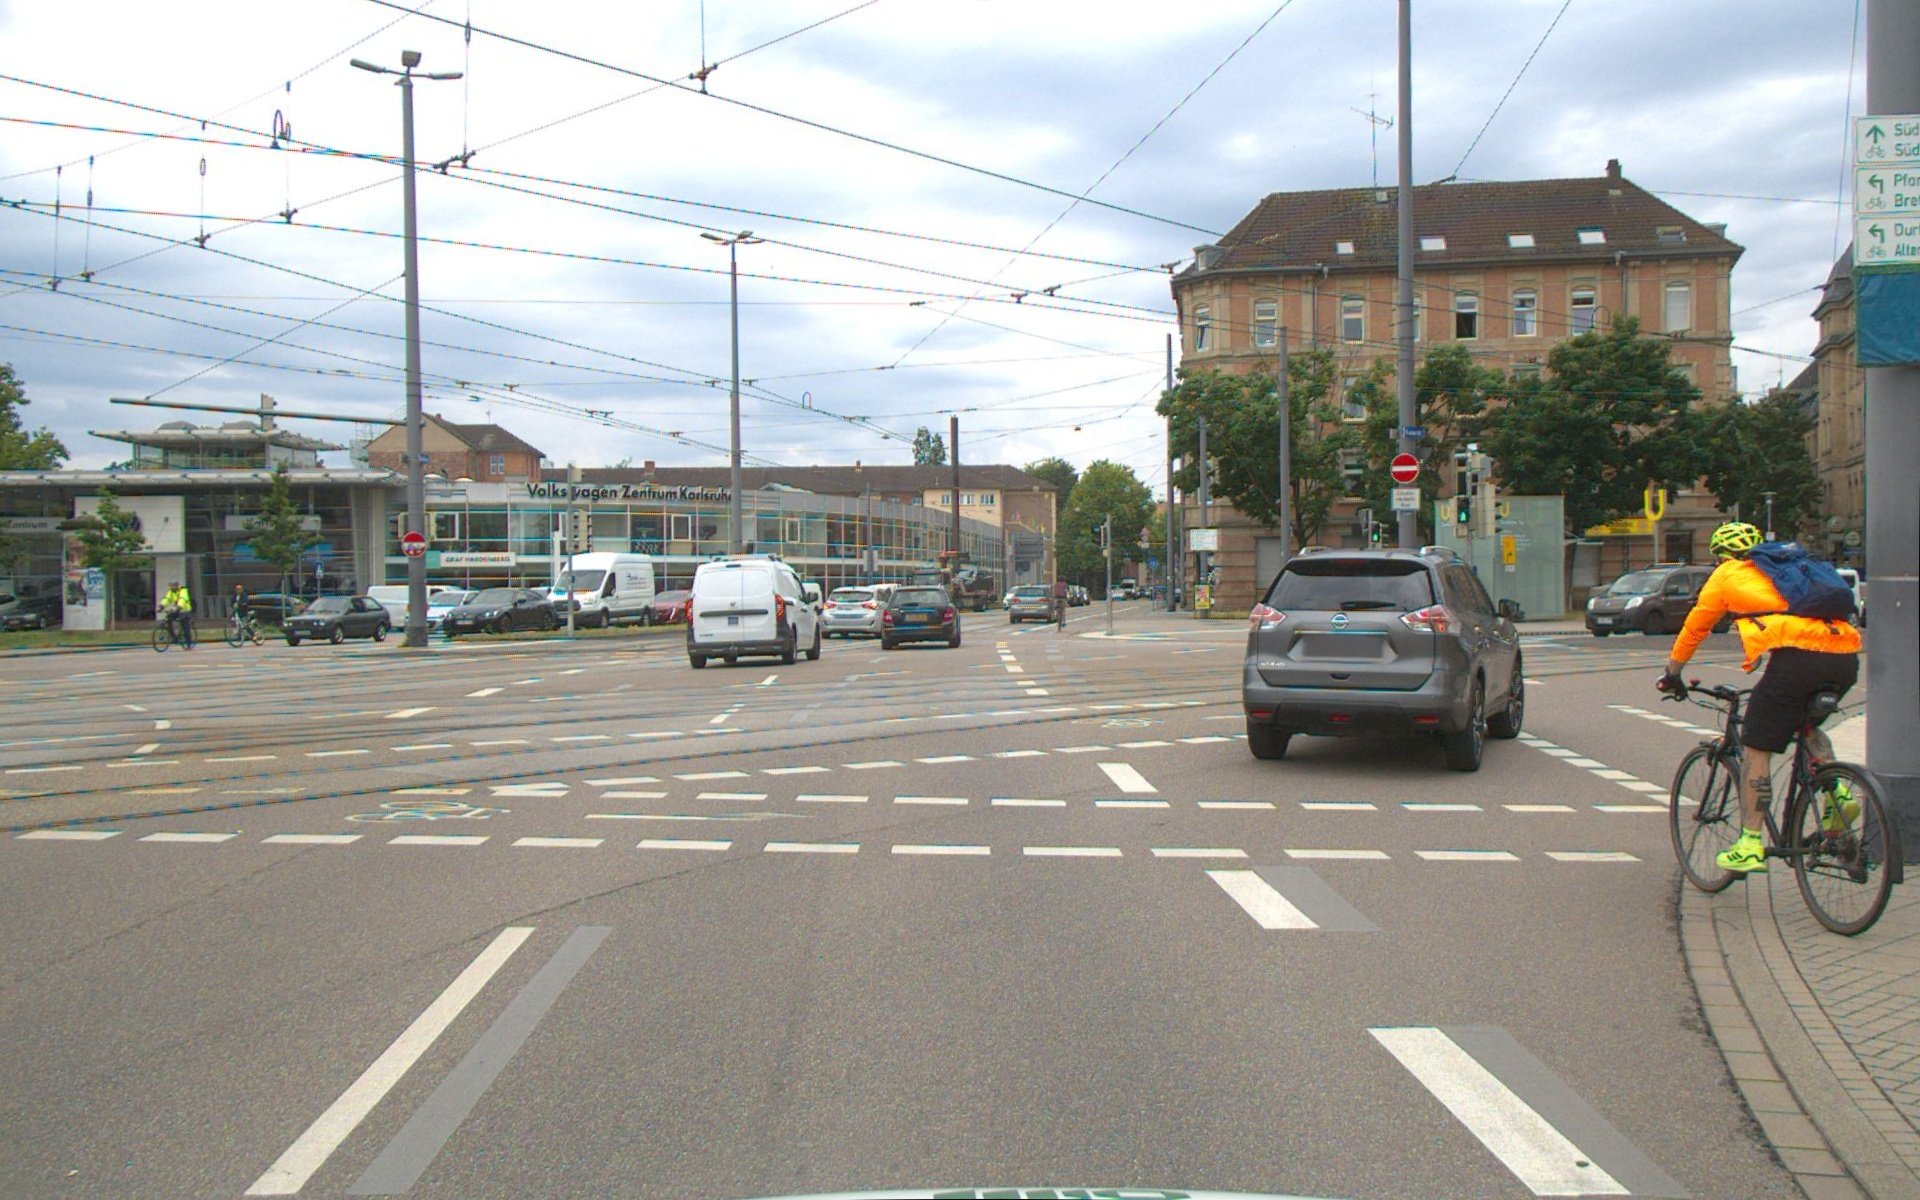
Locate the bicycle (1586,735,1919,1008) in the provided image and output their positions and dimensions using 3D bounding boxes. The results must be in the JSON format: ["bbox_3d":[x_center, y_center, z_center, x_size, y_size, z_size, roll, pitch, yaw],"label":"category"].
[{"bbox_3d":[3.619,1.132,7.432,0.546,0.863,2.069,-1,0,-9],"label":"bicycle"}]

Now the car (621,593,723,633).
[{"bbox_3d":[-11.028,0.483,63.763,1.951,1.445,4.804,0,0,16],"label":"car"}]

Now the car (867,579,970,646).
[{"bbox_3d":[-0.892,0.258,37.833,1.951,1.445,4.002,-1,0,4],"label":"car"}]

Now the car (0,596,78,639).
[{"bbox_3d":[-45.507,0.847,81.585,1.953,2.049,3.998,1,0,-2],"label":"car"}]

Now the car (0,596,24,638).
[{"bbox_3d":[-48.300,0.819,81.679,1.953,2.049,3.998,1,0,-2],"label":"car"}]

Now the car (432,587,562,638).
[{"bbox_3d":[-13.788,0.330,49.536,1.951,1.445,4.666,0,0,9],"label":"car"}]

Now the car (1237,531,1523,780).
[{"bbox_3d":[3.689,0.376,14.029,1.714,1.786,3.922,0,1,24],"label":"car"}]

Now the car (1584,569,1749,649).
[{"bbox_3d":[17.957,0.212,41.977,4.329,1.933,1.676,0,0,-32],"label":"car"}]

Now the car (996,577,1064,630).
[{"bbox_3d":[2.865,0.138,67.154,1.951,2.049,4.003,0,0,14],"label":"car"}]

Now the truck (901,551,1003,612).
[{"bbox_3d":[-0.369,-1.083,102.747,2.738,3.611,9.218,0,0,25],"label":"truck"}]

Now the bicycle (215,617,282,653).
[{"bbox_3d":[-20.124,0.969,46.818,0.507,0.942,2.225,0,1,14],"label":"bicycle"}]

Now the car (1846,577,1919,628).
[{"bbox_3d":[30.851,0.059,53.609,4.244,1.561,1.850,-1,-2,-31],"label":"car"}]

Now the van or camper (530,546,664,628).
[{"bbox_3d":[-12.438,-0.417,57.168,2.363,2.656,6.057,1,0,10],"label":"van or camper"}]

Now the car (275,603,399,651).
[{"bbox_3d":[-17.723,0.742,47.210,1.650,1.268,3.741,0,0,9],"label":"car"}]

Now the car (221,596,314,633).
[{"bbox_3d":[-27.871,0.572,66.693,1.600,1.445,3.741,0,0,12],"label":"car"}]

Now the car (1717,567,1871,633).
[{"bbox_3d":[25.584,-0.023,50.700,5.032,1.949,1.850,-1,0,-31],"label":"car"}]

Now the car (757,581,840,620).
[{"bbox_3d":[-8.103,0.009,83.460,2.112,1.889,5.449,0,0,19],"label":"car"}]

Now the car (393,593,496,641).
[{"bbox_3d":[-16.287,0.528,52.460,1.600,1.445,3.741,0,0,9],"label":"car"}]

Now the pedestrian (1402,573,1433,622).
[{"bbox_3d":[16.331,-0.094,59.029,0.893,1.758,0.601,-1,0,-10],"label":"pedestrian"}]

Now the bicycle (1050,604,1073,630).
[{"bbox_3d":[3.309,0.560,54.075,0.606,0.807,1.591,-1,0,-2],"label":"bicycle"}]

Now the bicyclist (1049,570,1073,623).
[{"bbox_3d":[3.300,-0.115,54.065,0.674,1.738,0.798,-1,0,-2],"label":"bicyclist"}]

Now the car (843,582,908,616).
[{"bbox_3d":[-4.701,-0.074,92.569,1.952,1.871,4.523,0,0,21],"label":"car"}]

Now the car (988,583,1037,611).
[{"bbox_3d":[3.621,-0.202,112.583,1.952,1.871,4.523,0,0,21],"label":"car"}]

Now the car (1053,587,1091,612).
[{"bbox_3d":[8.592,-0.039,126.168,1.951,1.871,4.526,0,0,17],"label":"car"}]

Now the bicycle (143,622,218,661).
[{"bbox_3d":[-20.714,1.091,43.995,0.507,0.946,2.225,0,1,14],"label":"bicycle"}]

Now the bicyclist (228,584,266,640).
[{"bbox_3d":[-20.144,0.331,46.763,0.553,1.534,0.857,0,1,14],"label":"bicyclist"}]

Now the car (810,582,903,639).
[{"bbox_3d":[-2.900,0.297,47.322,1.813,1.534,4.003,1,0,9],"label":"car"}]

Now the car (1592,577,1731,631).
[{"bbox_3d":[19.909,0.105,46.920,3.947,1.467,1.676,0,0,-32],"label":"car"}]

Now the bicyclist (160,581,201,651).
[{"bbox_3d":[-20.686,0.420,43.914,0.614,1.835,0.798,0,0,14],"label":"bicyclist"}]

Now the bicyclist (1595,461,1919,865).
[{"bbox_3d":[3.599,0.250,7.458,0.812,1.649,1.319,-1,0,-9],"label":"bicyclist"}]

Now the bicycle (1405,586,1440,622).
[{"bbox_3d":[18.388,0.149,65.706,0.938,1.378,3.120,0,0,23],"label":"bicycle"}]

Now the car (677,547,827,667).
[{"bbox_3d":[-3.606,0.104,29.391,1.872,1.974,4.133,0,0,4],"label":"car"}]

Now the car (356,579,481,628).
[{"bbox_3d":[-23.305,0.157,71.249,4.664,2.049,2.123,1,0,10],"label":"car"}]
